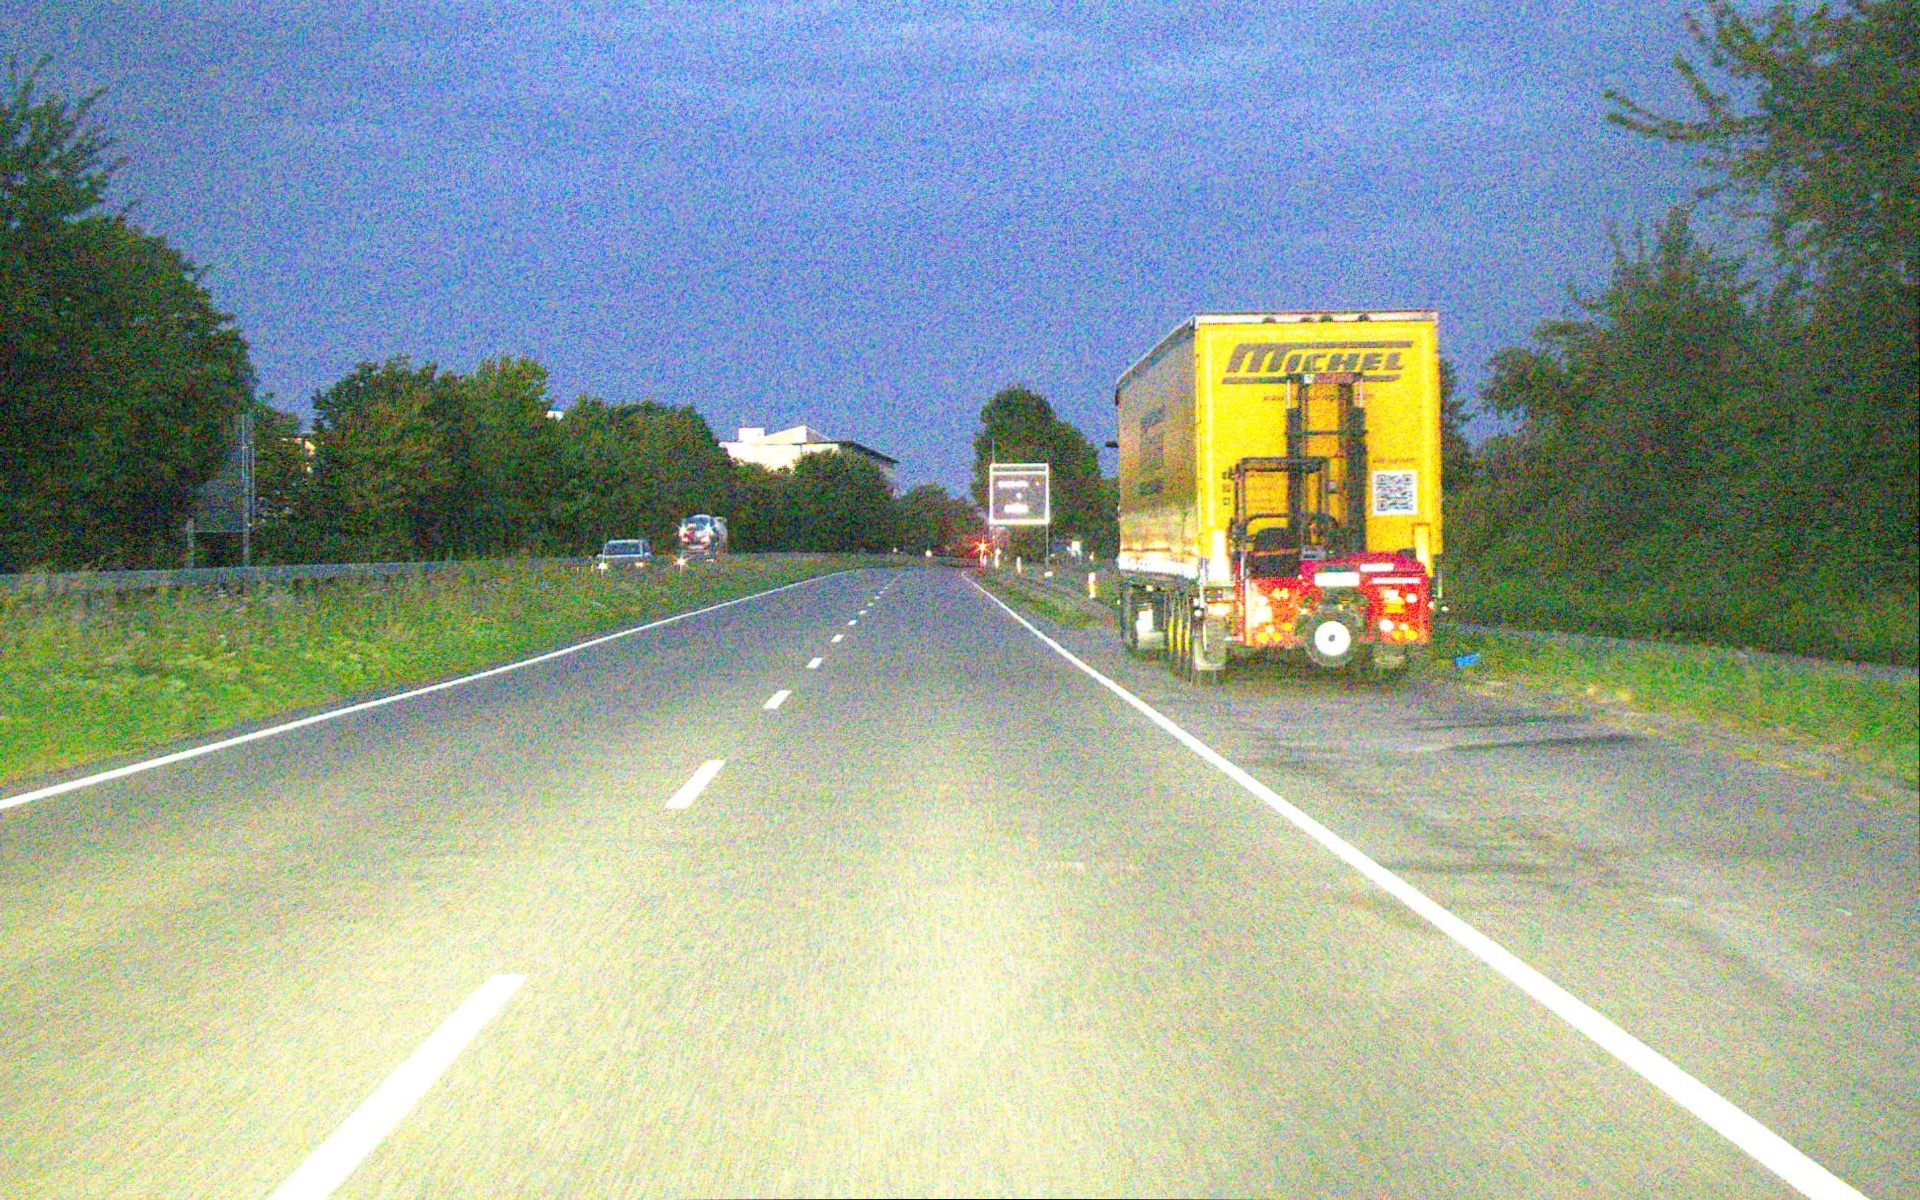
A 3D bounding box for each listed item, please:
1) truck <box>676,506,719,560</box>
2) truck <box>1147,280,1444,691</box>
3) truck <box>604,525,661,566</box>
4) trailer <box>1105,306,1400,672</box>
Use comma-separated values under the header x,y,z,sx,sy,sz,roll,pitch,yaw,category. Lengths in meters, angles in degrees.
x,y,z,sx,sy,sz,roll,pitch,yaw,category
-17.511,-4.451,229.592,2.219,3.433,6.715,2,0,0,truck
3.529,-1.226,37.523,2.579,4.057,6.130,1,1,0,truck
-13.902,-2.318,146.074,2.016,1.647,4.774,2,1,-2,truck
3.541,-1.345,44.893,2.622,4.090,12.938,0,1,-1,trailer
